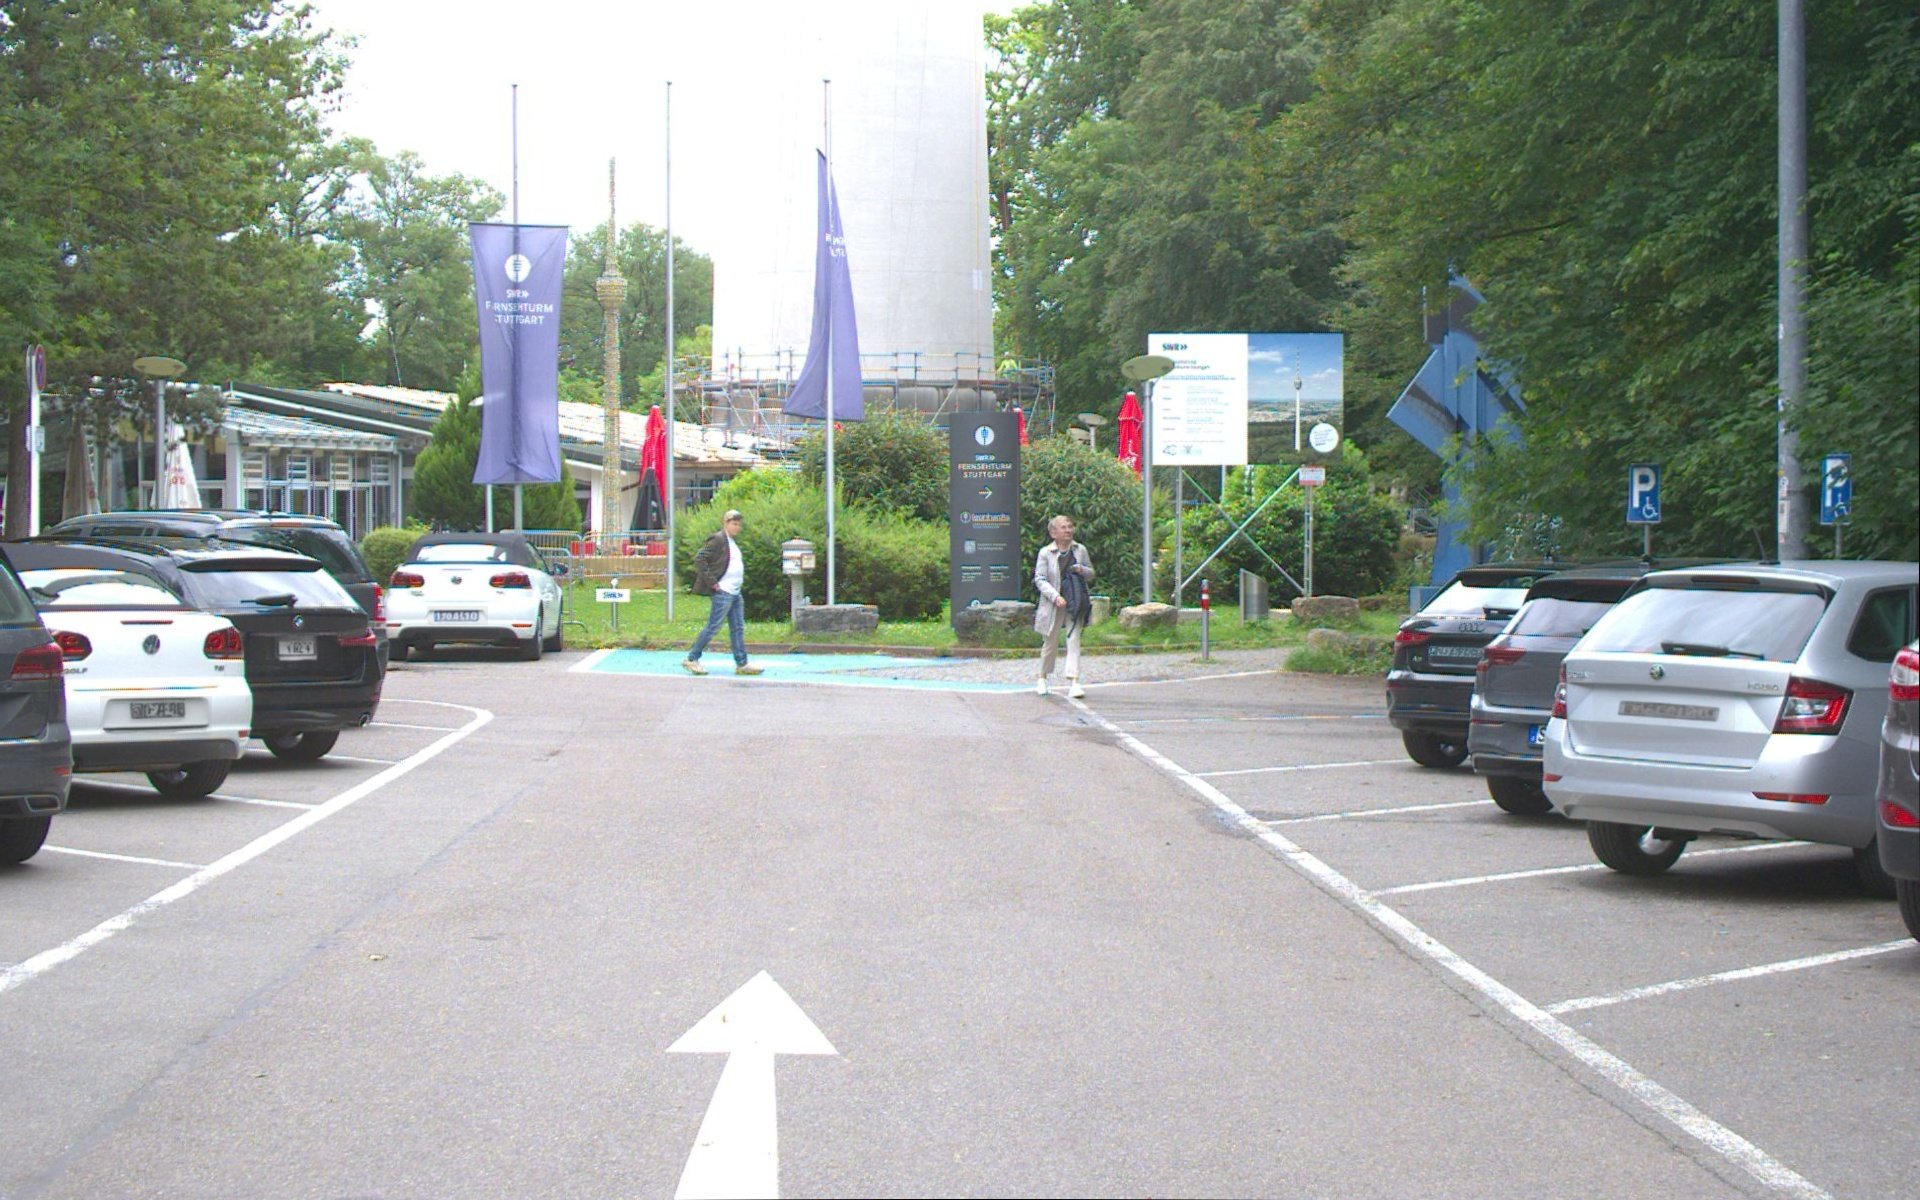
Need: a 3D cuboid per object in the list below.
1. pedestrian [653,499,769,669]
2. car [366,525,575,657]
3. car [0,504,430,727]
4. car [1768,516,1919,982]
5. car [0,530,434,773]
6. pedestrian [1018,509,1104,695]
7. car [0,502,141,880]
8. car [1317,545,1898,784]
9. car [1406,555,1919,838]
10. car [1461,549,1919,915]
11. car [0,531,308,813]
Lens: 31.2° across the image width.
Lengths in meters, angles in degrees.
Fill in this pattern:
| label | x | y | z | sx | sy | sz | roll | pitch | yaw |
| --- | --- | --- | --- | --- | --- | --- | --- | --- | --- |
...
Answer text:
| label | x | y | z | sx | sy | sz | roll | pitch | yaw |
| --- | --- | --- | --- | --- | --- | --- | --- | --- | --- |
| pedestrian | -2.568 | -0.174 | 35.439 | 0.895 | 1.719 | 0.763 | 1 | 1 | 31 |
| car | -5.596 | -0.145 | 39.719 | 1.893 | 1.423 | 4.000 | 0 | 1 | -1 |
| car | -6.283 | 0.065 | 26.960 | 4.384 | 1.603 | 1.825 | 2 | 1 | 42 |
| car | 5.105 | 0.511 | 13.305 | 1.964 | 1.631 | 4.252 | 2 | 2 | 43 |
| car | -5.555 | 0.271 | 22.778 | 4.275 | 1.438 | 1.755 | 2 | 1 | 41 |
| pedestrian | 0.943 | 0.009 | 32.211 | 0.762 | 1.719 | 0.897 | 1 | 1 | 0 |
| car | -5.637 | 0.340 | 15.598 | 3.974 | 1.581 | 1.843 | 2 | 2 | 43 |
| car | 4.502 | 0.381 | 23.533 | 1.898 | 1.457 | 4.194 | 2 | 2 | 44 |
| car | 4.504 | 0.467 | 19.625 | 1.909 | 1.417 | 3.990 | 2 | 2 | 43 |
| car | 4.355 | 0.512 | 16.170 | 3.989 | 1.462 | 1.834 | -1 | 2 | -42 |
| car | -5.600 | 0.327 | 19.644 | 3.843 | 1.438 | 1.768 | 2 | 2 | 44 |
